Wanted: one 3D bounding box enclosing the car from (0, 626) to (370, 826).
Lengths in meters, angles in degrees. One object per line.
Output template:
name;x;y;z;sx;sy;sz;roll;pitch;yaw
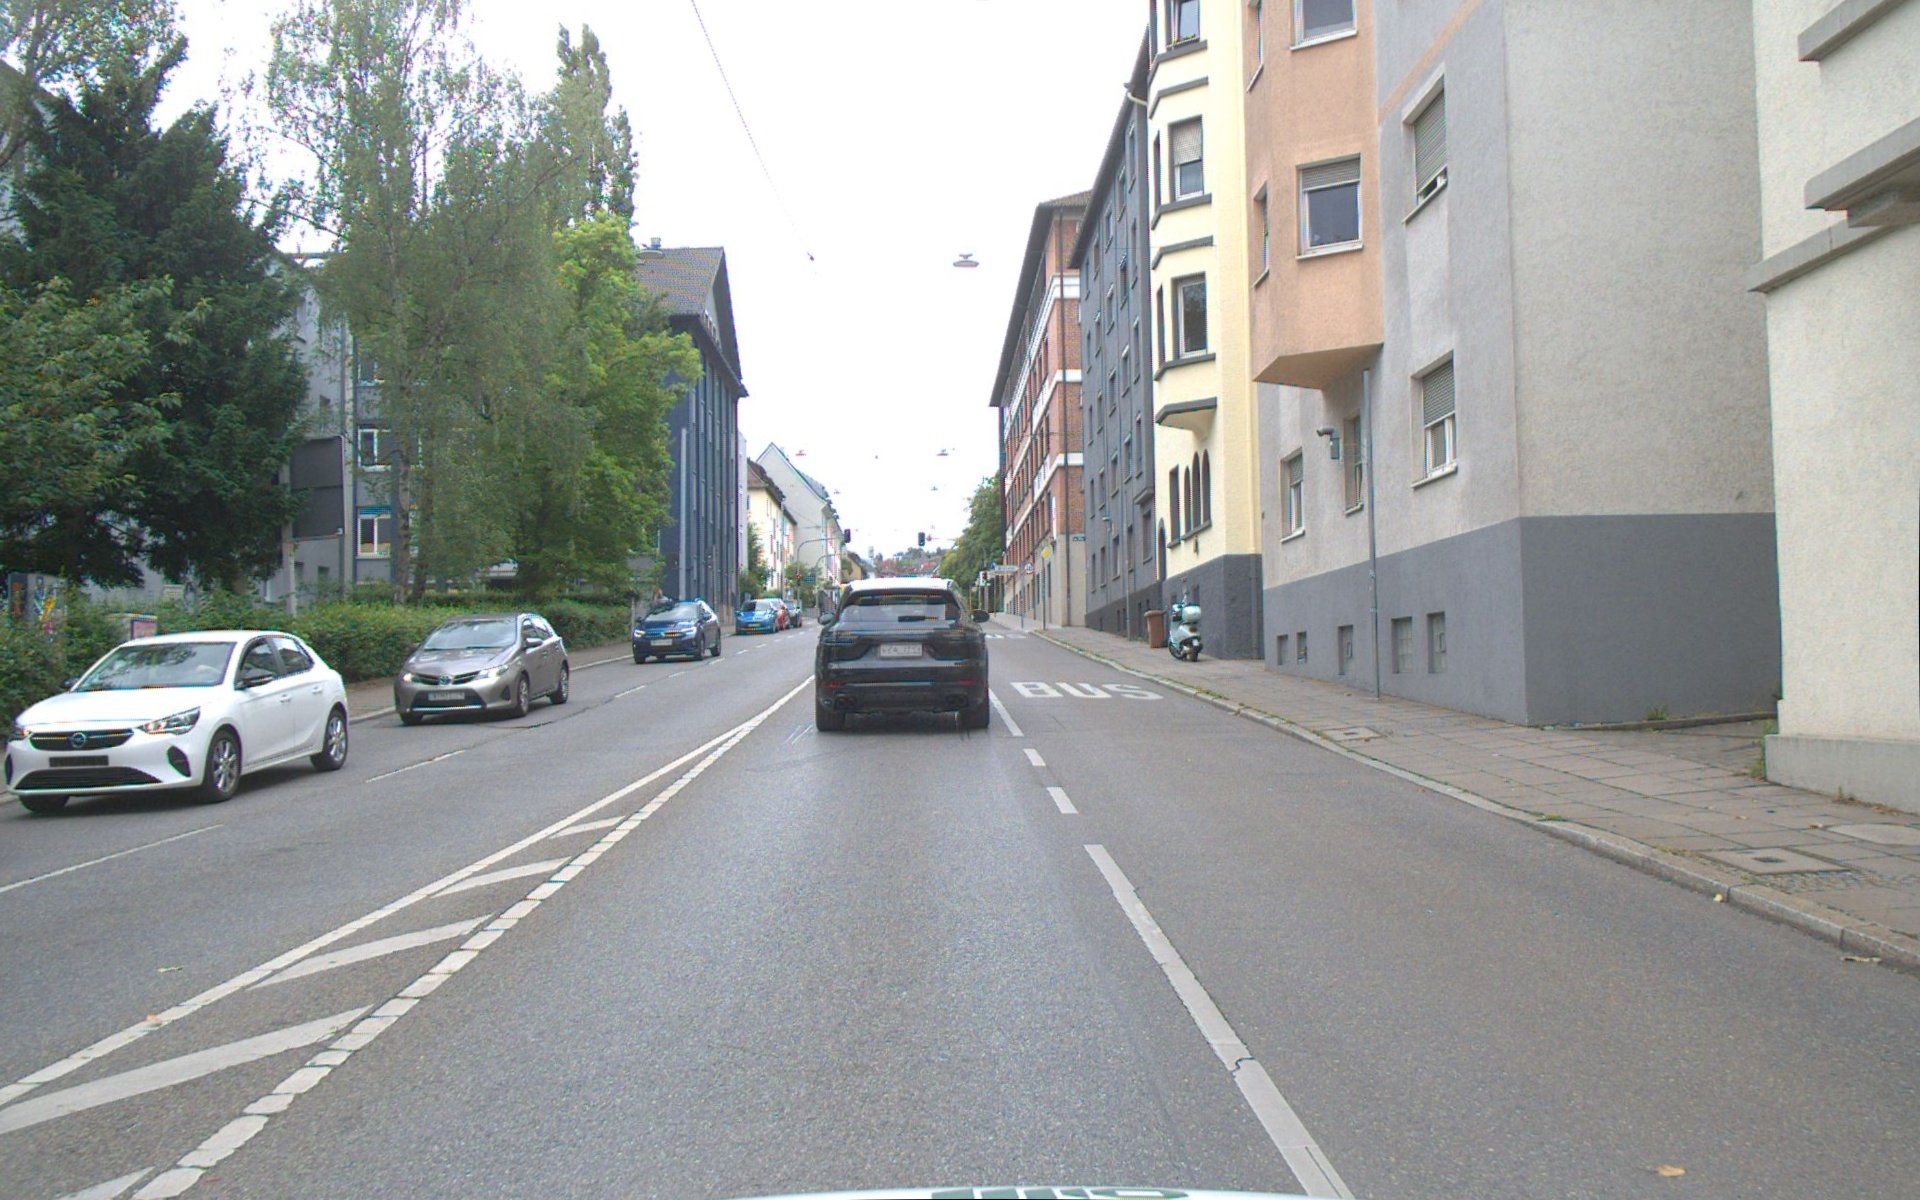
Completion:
car;-7.174;1.060;15.407;1.802;1.436;4.074;-4;0;0

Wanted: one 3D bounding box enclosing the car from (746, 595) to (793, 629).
car;-9.022;0.532;78.563;1.679;1.482;3.989;-3;0;0

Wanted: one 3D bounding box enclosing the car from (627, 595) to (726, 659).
car;-7.265;0.656;42.758;1.802;1.473;4.310;-3;0;-1

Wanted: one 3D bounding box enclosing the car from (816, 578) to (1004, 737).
car;-0.714;0.611;19.721;1.984;1.670;4.351;1;0;-5

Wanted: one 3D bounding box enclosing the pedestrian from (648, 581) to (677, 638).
pedestrian;-10.561;0.340;58.694;0.864;1.984;0.867;1;0;-2

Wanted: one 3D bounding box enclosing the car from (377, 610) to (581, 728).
car;-7.054;0.953;24.723;1.802;1.473;4.310;-3;0;-1

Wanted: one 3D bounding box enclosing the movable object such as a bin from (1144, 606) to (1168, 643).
movable object such as a bin;4.949;0.611;41.726;0.465;0.907;0.516;-4;0;-2

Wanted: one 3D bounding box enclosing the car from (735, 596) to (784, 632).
car;-8.805;0.588;72.763;1.680;1.448;3.988;-3;1;-1

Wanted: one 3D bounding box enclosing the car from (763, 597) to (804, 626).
car;-8.971;0.559;84.316;1.680;1.364;3.903;-3;0;-1

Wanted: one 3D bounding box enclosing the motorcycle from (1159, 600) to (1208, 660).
motorcycle;4.712;0.613;34.942;0.527;1.176;2.225;-4;1;-4

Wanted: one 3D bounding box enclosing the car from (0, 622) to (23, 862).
car;-7.537;1.036;9.210;1.911;1.621;4.499;-4;0;1
